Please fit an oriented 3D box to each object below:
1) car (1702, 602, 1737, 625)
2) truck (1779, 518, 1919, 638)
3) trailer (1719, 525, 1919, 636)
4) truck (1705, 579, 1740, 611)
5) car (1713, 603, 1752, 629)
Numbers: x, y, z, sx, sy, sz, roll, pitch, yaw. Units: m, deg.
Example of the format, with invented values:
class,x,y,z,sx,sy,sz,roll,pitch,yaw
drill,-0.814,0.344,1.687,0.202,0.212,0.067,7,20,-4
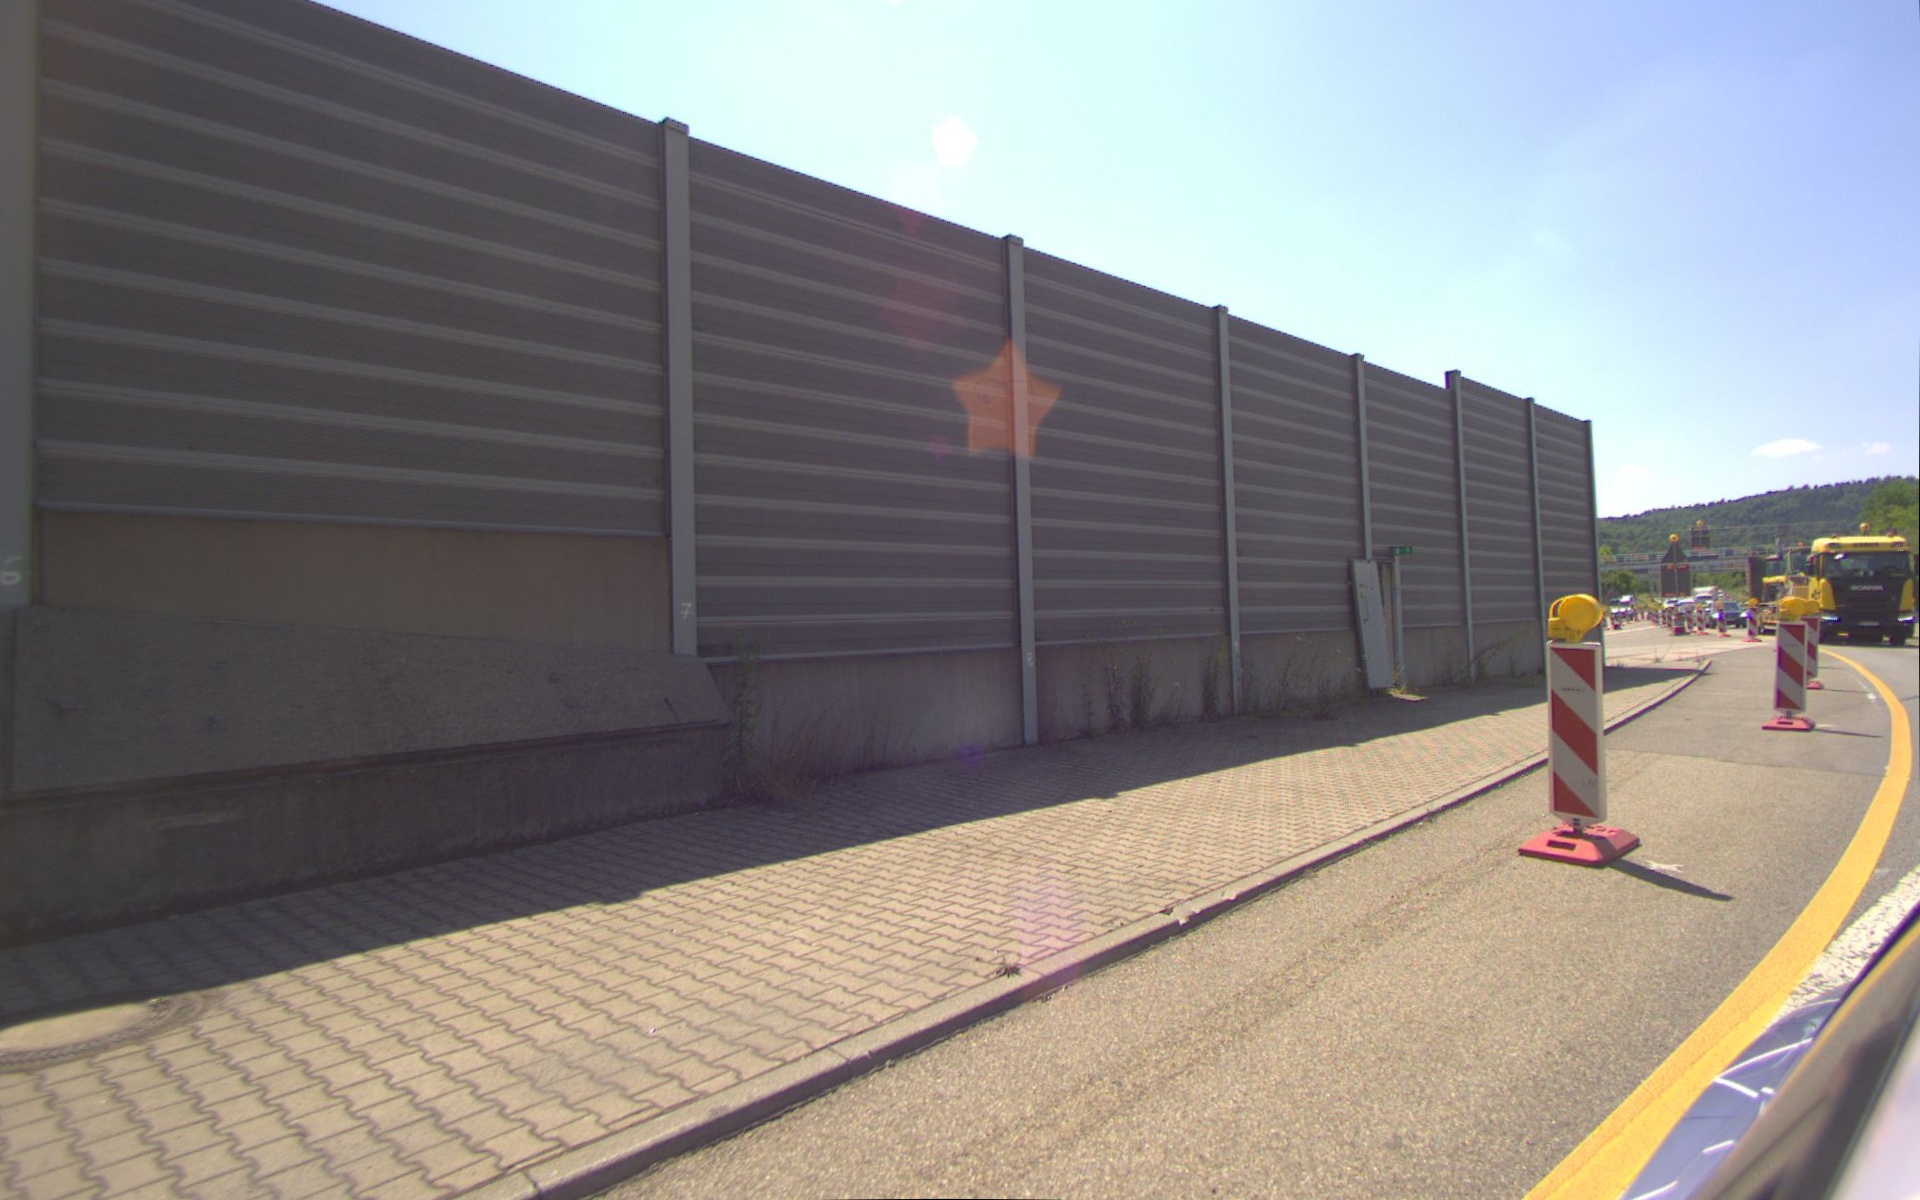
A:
class,x,y,z,sx,sy,sz,roll,pitch,yaw
car,52.122,0.908,69.512,1.464,1.466,4.312,0,0,31
truck,31.567,-0.652,35.408,3.204,3.709,7.006,-4,-3,30
trailer,36.229,-0.503,43.609,3.210,3.715,17.234,-4,-3,30
truck,101.669,-0.554,134.921,3.220,3.715,17.184,-5,-3,37
car,47.457,0.954,62.261,1.464,1.466,4.311,0,0,32
